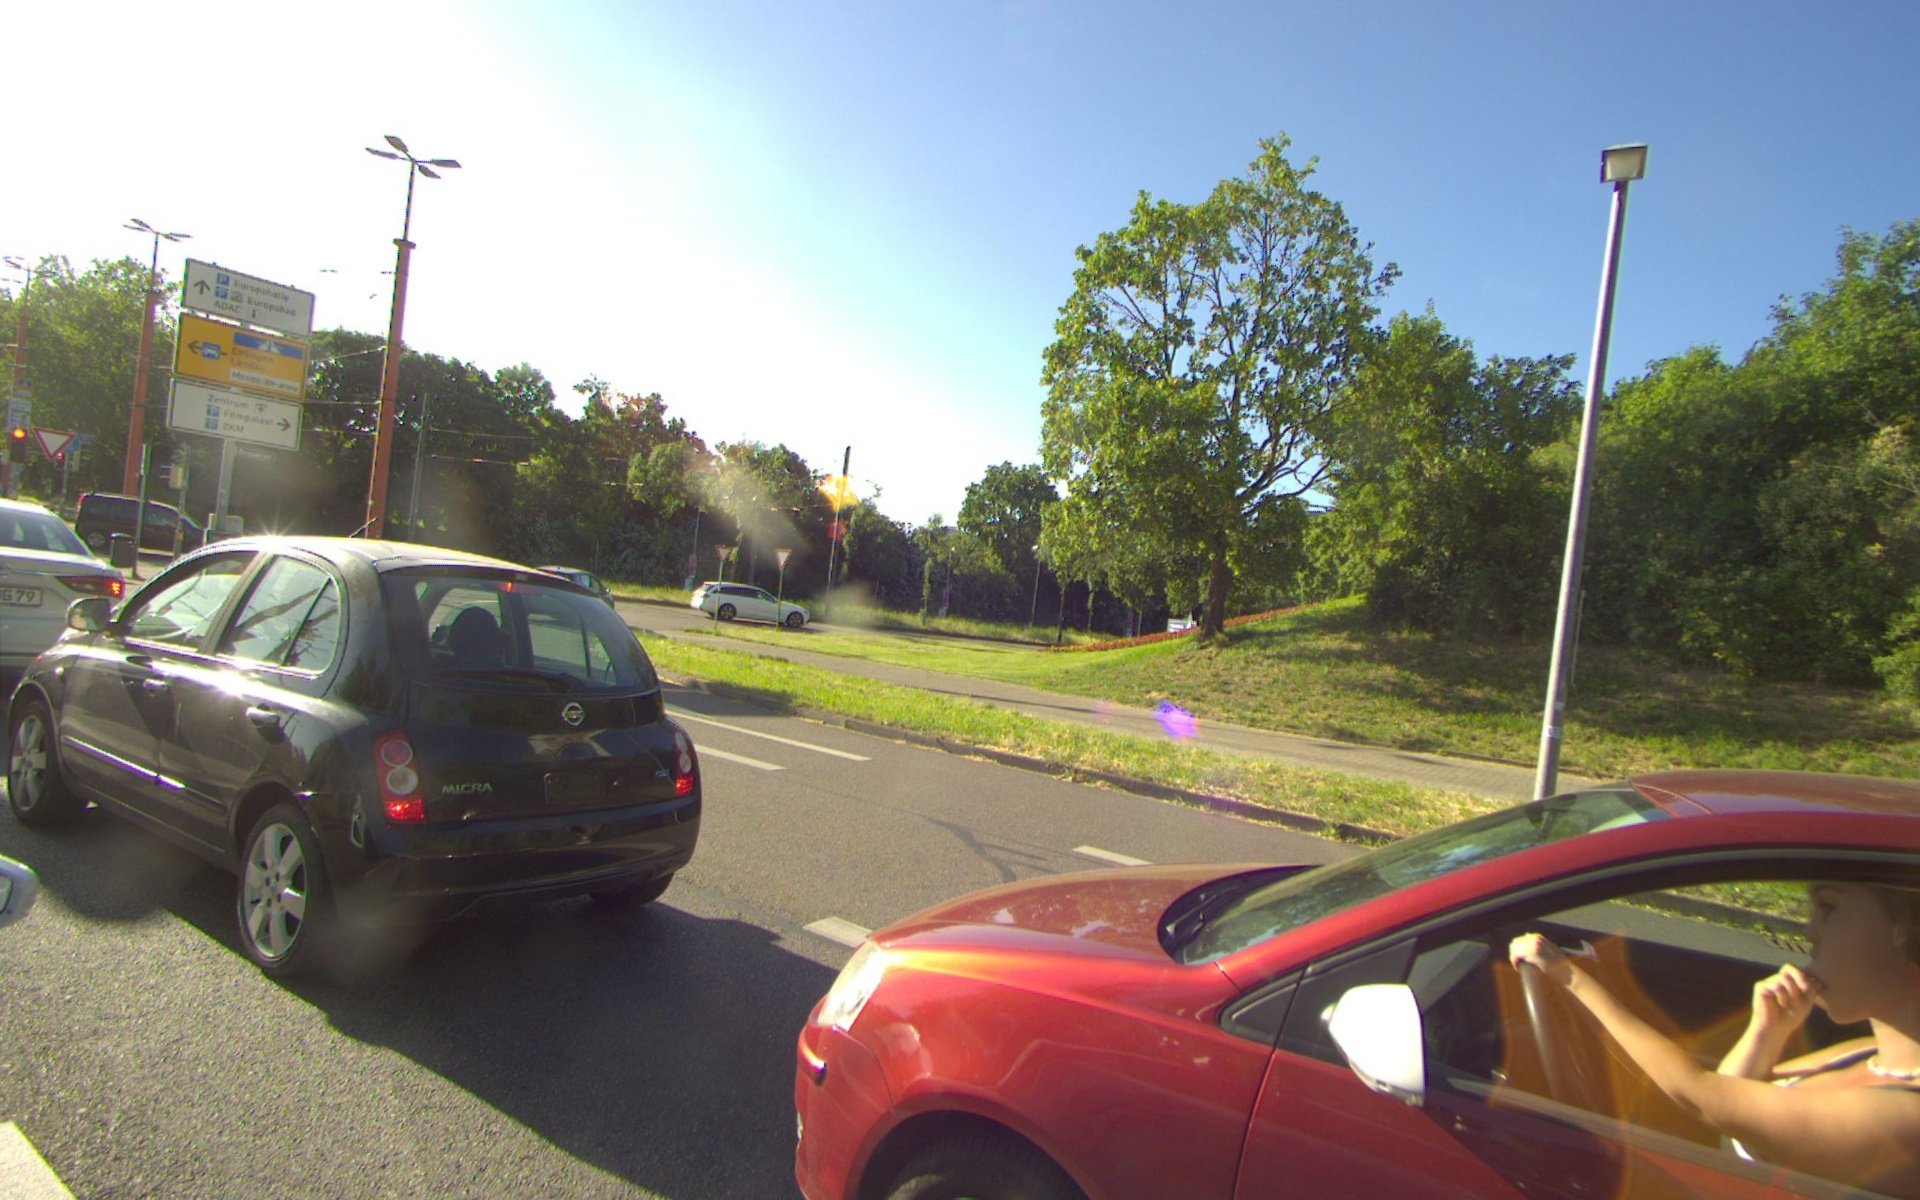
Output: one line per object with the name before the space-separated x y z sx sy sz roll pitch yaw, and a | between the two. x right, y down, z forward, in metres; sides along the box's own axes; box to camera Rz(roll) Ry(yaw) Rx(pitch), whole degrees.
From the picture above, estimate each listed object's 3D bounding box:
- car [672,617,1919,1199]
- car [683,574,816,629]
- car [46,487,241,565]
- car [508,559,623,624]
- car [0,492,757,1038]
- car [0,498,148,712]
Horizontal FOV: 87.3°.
car | 1.365 0.991 1.895 3.634 1.434 1.624 7 -1 34
car | -8.664 0.085 41.468 4.876 1.594 1.985 8 -1 -30
car | -27.488 -2.432 34.114 4.746 1.858 1.899 8 -1 -31
car | -11.033 -0.199 28.427 1.720 1.486 3.891 7 -1 -3
car | -2.827 0.465 4.626 3.457 1.524 1.558 7 0 32
car | -8.352 -0.162 7.979 4.077 1.472 1.717 7 -1 33
